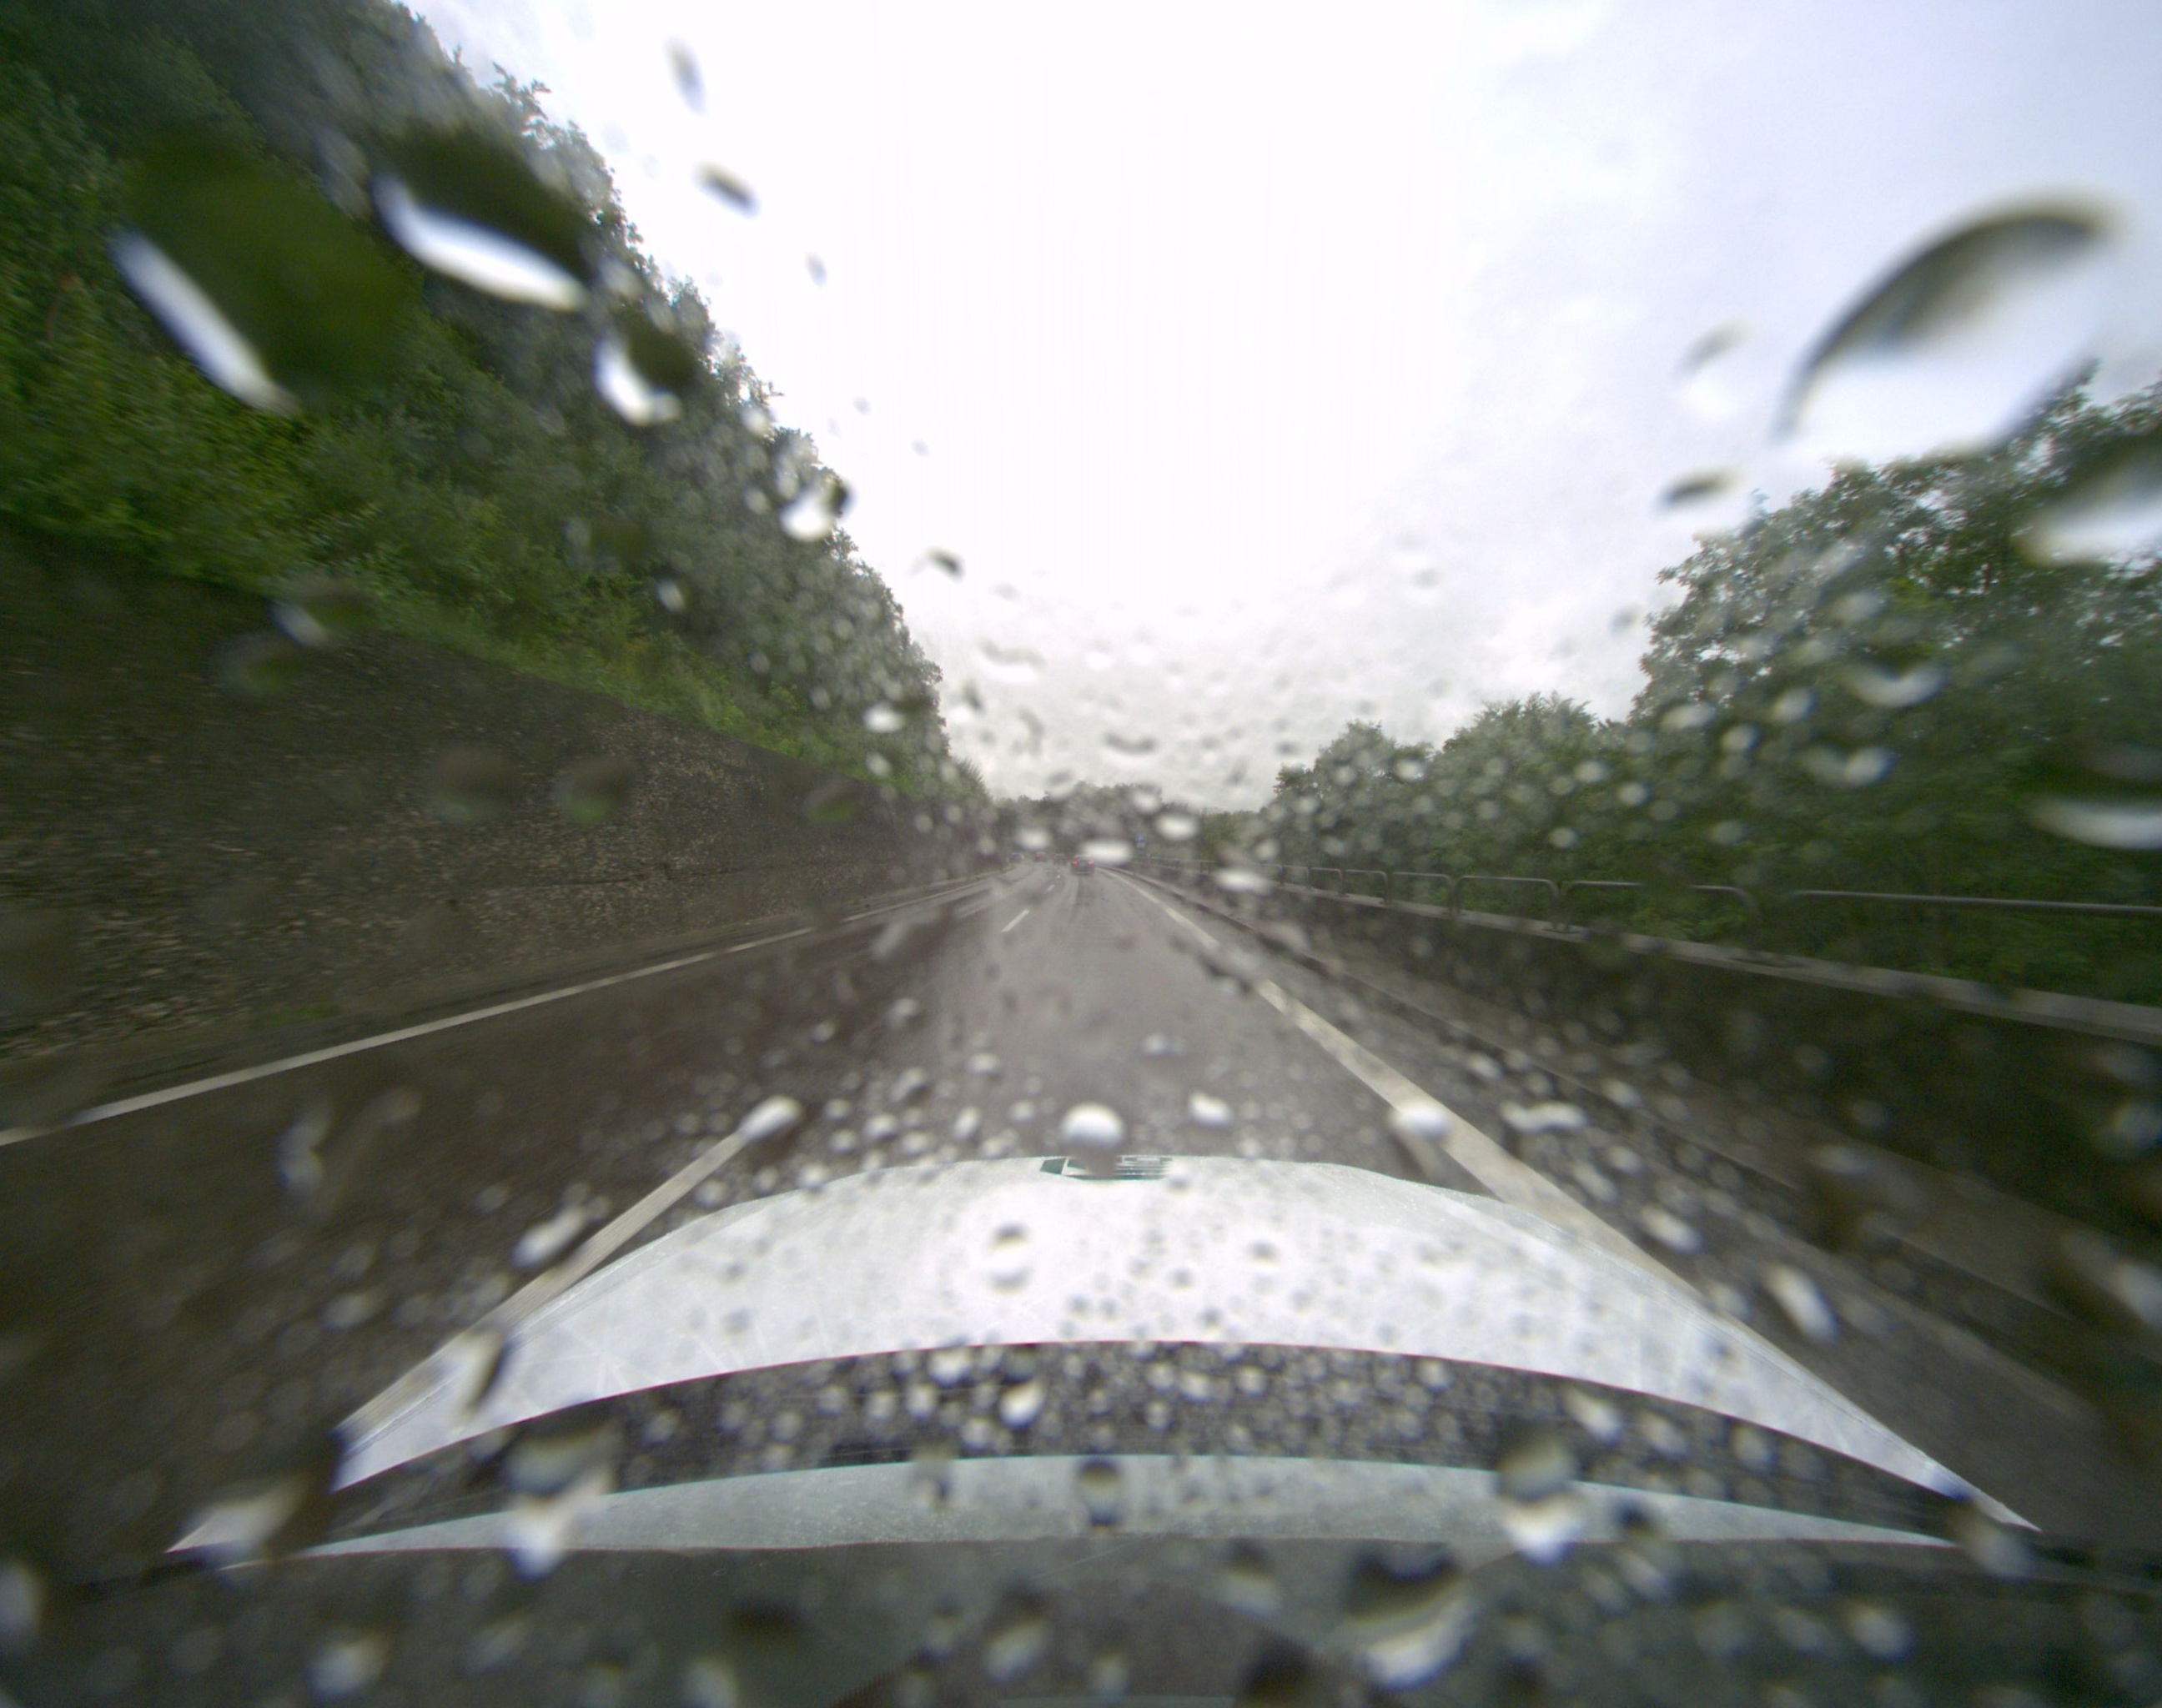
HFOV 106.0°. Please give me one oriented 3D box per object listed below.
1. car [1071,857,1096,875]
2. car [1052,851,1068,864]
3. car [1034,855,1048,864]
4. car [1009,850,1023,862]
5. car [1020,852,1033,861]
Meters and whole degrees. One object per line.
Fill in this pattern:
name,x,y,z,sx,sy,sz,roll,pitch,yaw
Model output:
car,0.206,0.870,62.855,1.794,1.307,4.000,-1,0,1
car,-2.869,0.444,110.733,1.991,1.750,3.991,0,0,-6
car,-6.771,0.928,137.191,1.801,1.467,3.984,-1,0,-12
car,-10.882,0.324,136.243,1.993,1.904,3.988,0,-1,-8
car,-10.090,0.449,151.712,1.994,1.662,3.986,-1,0,-10
